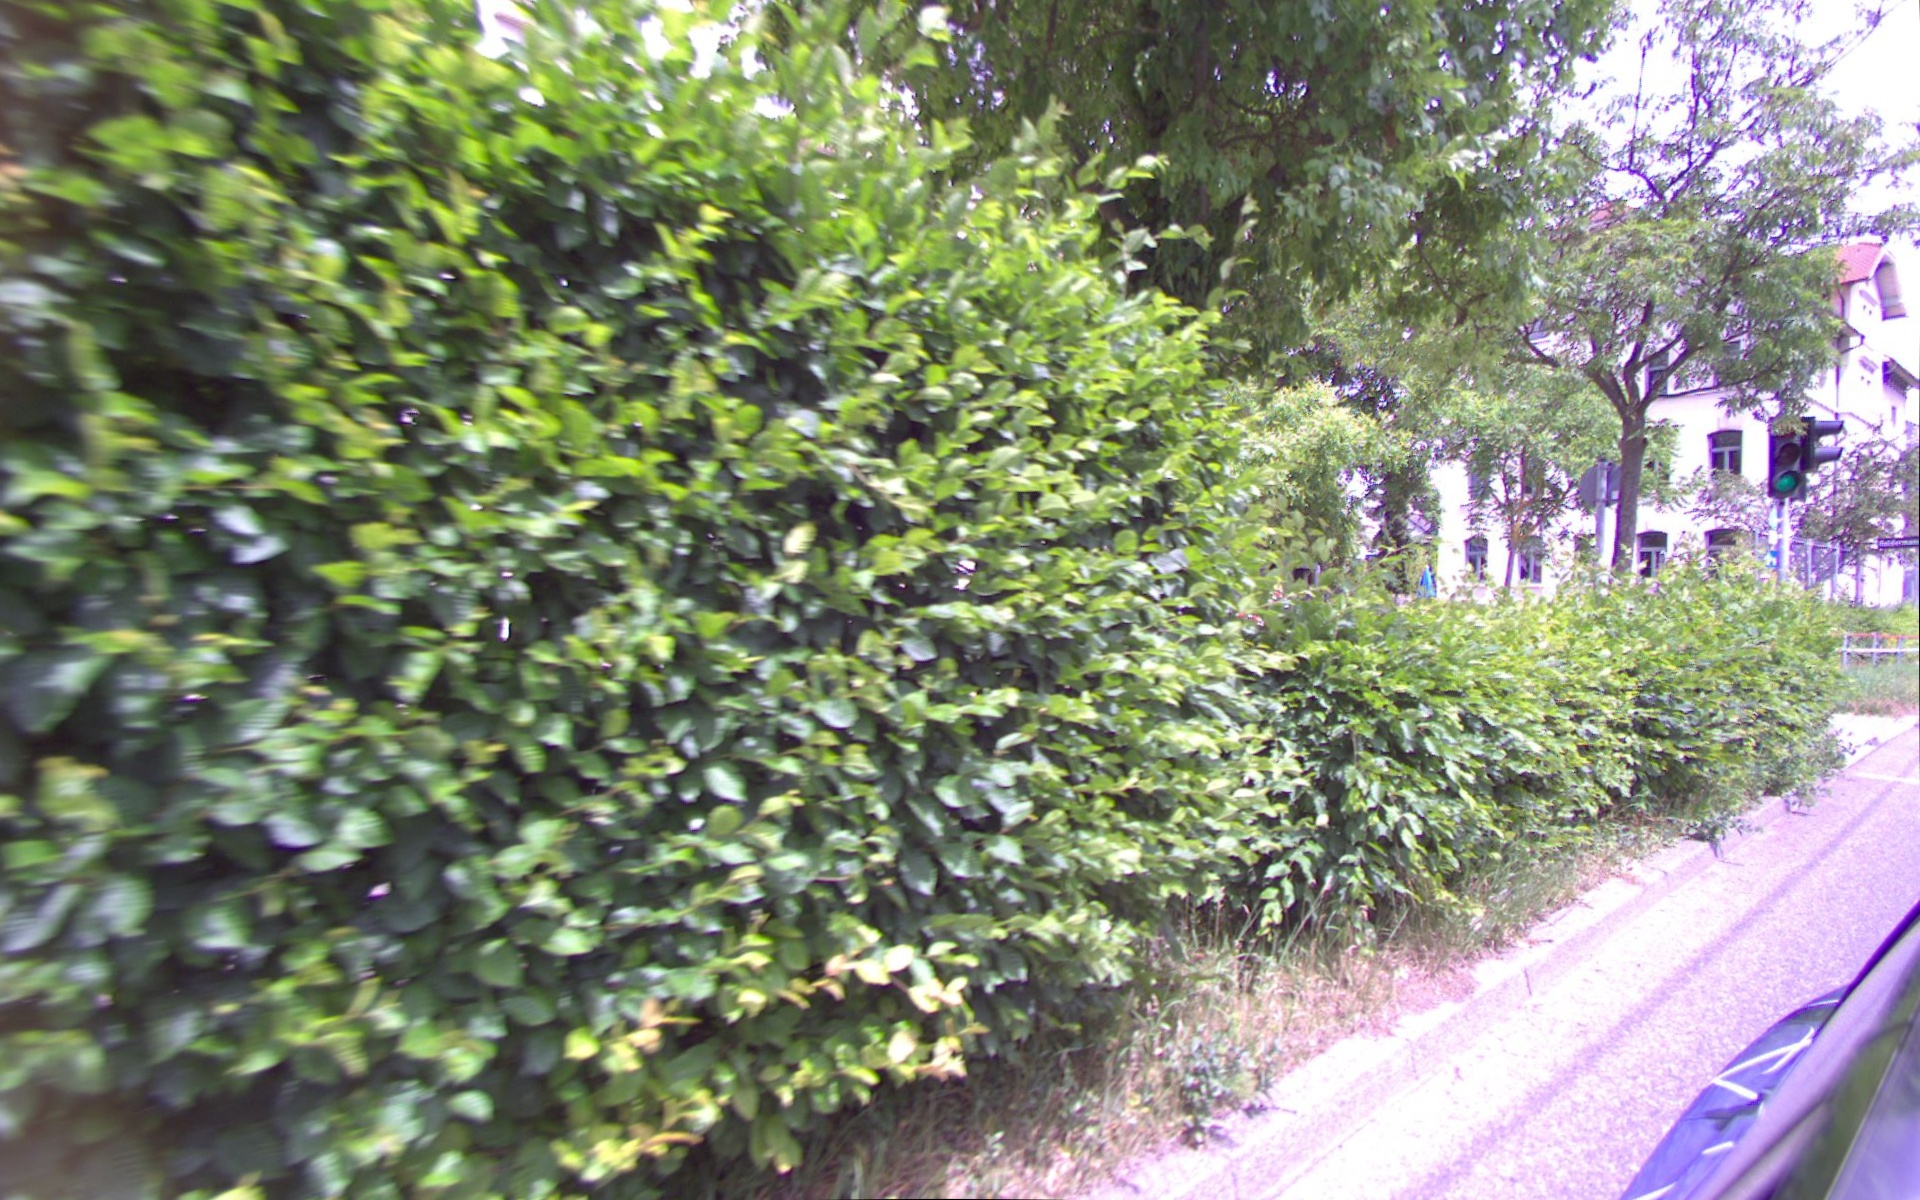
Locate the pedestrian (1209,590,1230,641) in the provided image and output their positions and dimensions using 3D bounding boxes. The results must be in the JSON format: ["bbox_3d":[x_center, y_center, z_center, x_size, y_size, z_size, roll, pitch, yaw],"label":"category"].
[{"bbox_3d":[6.575,0.389,25.655,0.401,1.245,0.457,2,0,28],"label":"pedestrian"}]

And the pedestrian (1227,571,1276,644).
[{"bbox_3d":[7.712,0.205,26.763,0.748,1.842,1.128,2,-4,43],"label":"pedestrian"}]

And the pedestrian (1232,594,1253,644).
[{"bbox_3d":[7.124,0.468,25.509,0.401,1.245,0.457,2,0,28],"label":"pedestrian"}]
